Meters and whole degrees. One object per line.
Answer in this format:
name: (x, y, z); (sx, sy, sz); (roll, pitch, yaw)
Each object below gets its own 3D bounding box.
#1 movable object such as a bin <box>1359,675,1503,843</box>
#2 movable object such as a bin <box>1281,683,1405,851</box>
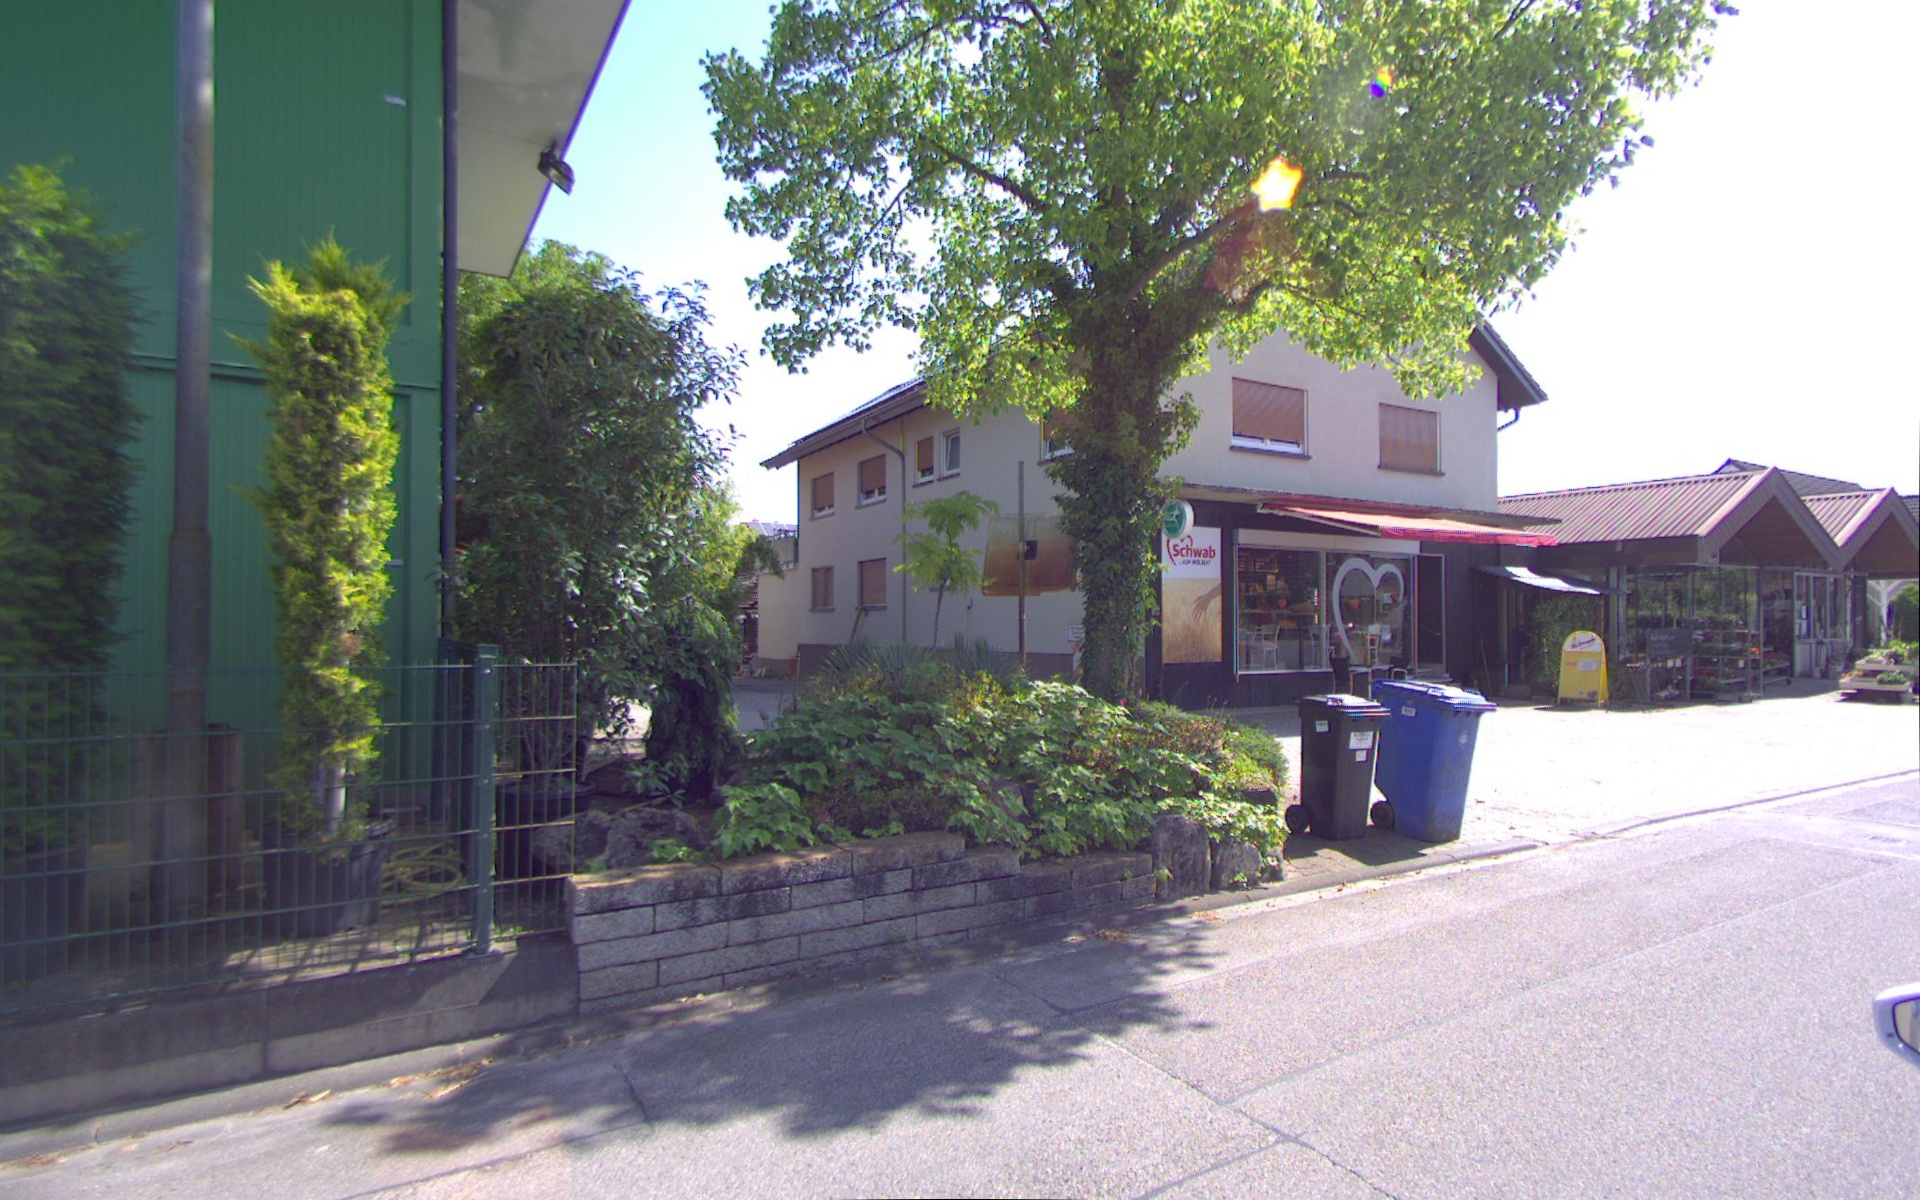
movable object such as a bin: (3.402, 1.114, 7.280); (0.605, 1.068, 0.727); (1, 0, -31)
movable object such as a bin: (2.650, 1.125, 6.966); (0.561, 1.038, 0.579); (1, 0, -31)
